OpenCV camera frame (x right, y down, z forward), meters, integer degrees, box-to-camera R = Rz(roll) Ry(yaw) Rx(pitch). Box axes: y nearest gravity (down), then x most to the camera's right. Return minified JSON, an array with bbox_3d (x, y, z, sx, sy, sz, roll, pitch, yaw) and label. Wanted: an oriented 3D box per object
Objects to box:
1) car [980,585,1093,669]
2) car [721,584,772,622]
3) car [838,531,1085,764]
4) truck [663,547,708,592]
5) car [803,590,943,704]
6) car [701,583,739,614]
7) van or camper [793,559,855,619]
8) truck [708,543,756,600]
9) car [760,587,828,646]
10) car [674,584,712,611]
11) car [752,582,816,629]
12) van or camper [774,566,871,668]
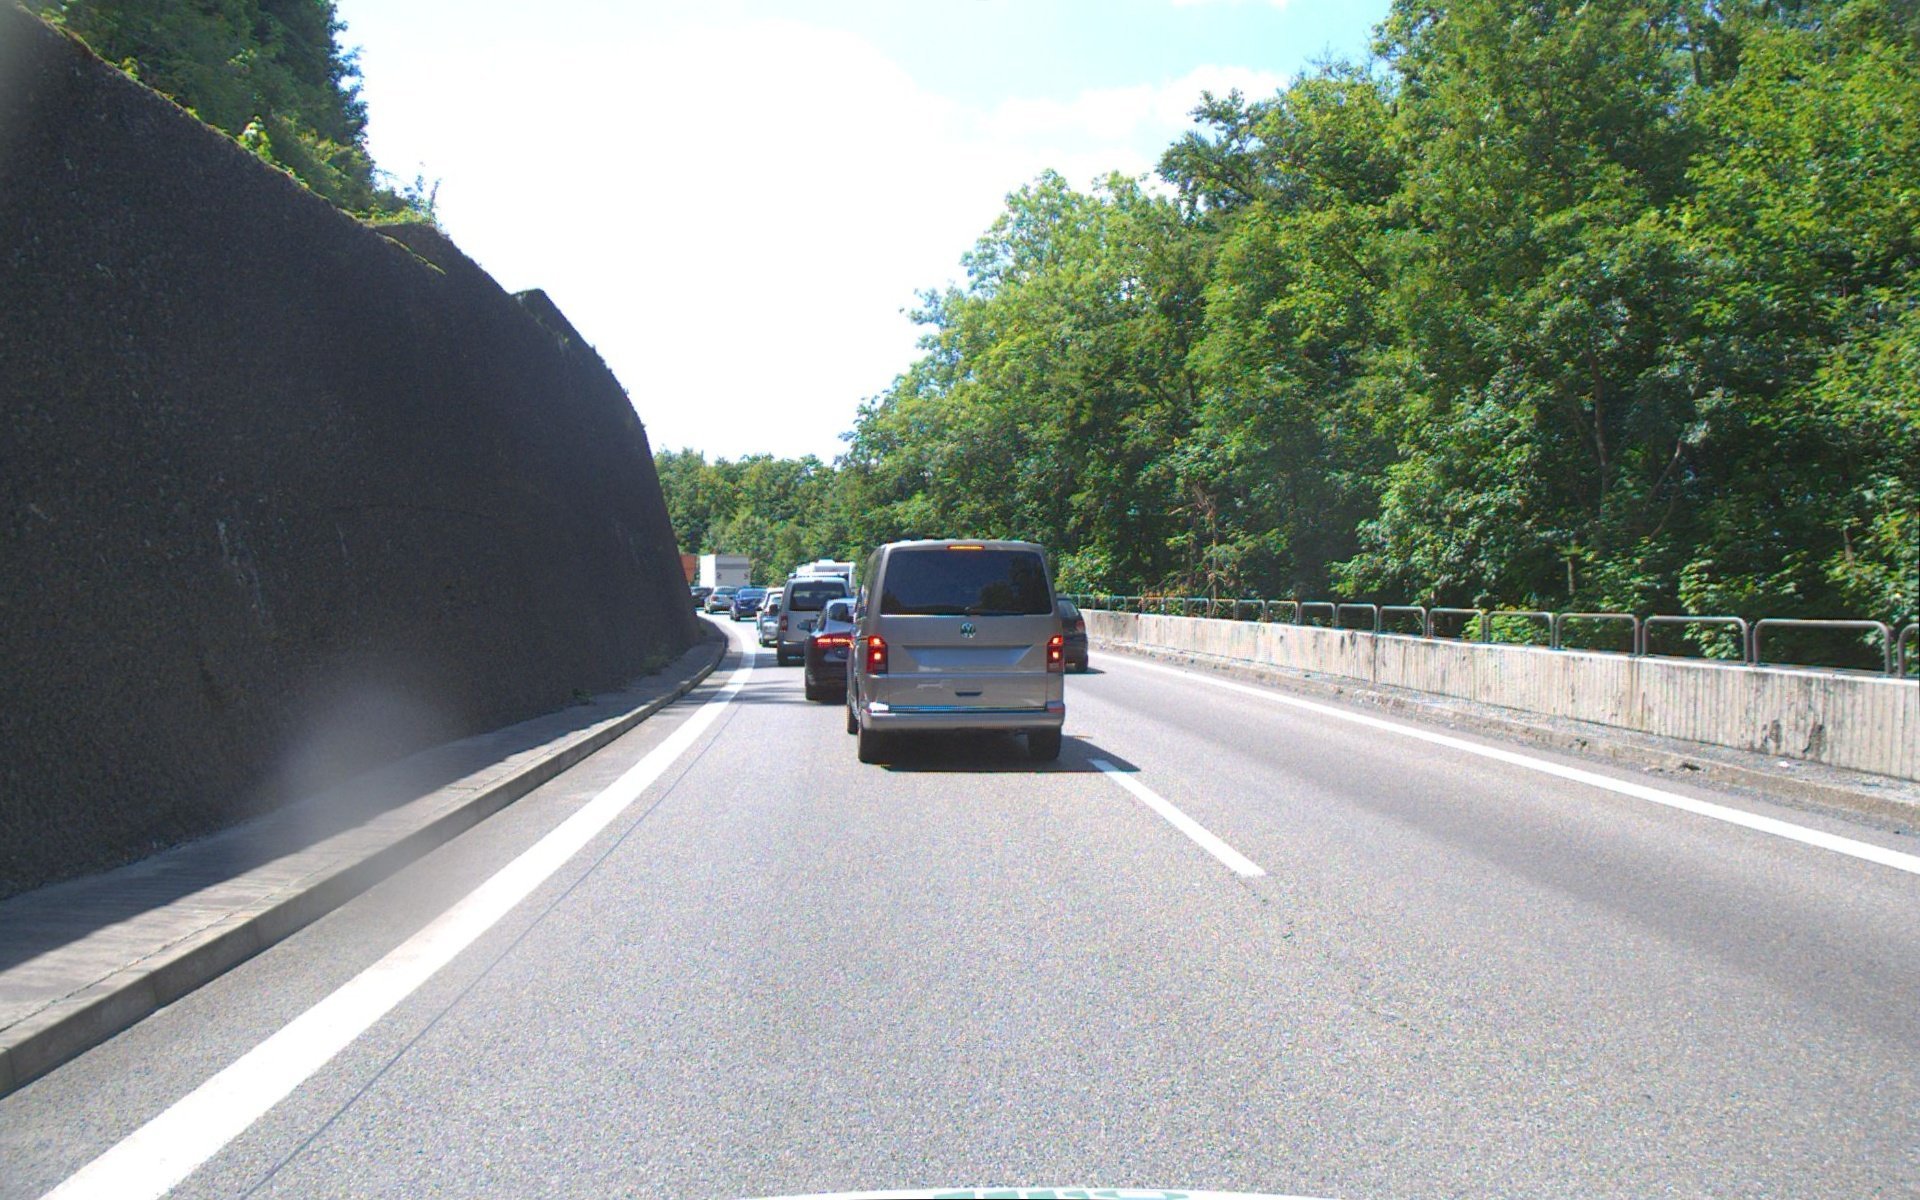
[{"bbox_3d":[1.405,0.470,31.757,1.652,1.484,3.996,1,0,-5],"label":"car"},{"bbox_3d":[-9.713,0.115,75.114,1.827,1.648,3.984,0,1,-15],"label":"car"},{"bbox_3d":[-0.152,0.393,16.397,1.903,1.965,4.688,1,0,-7],"label":"car"},{"bbox_3d":[-23.690,-2.660,142.566,3.109,3.528,8.195,4,0,-13],"label":"truck"},{"bbox_3d":[-1.278,0.627,24.561,1.867,1.515,4.377,1,0,-3],"label":"car"},{"bbox_3d":[-12.988,-0.082,89.345,1.957,1.646,3.991,0,0,-10],"label":"car"},{"bbox_3d":[-6.886,-0.591,83.203,2.556,2.905,6.320,0,1,-10],"label":"van or camper"},{"bbox_3d":[-16.610,-2.070,120.161,2.873,3.751,7.705,5,0,-10],"label":"truck"},{"bbox_3d":[-4.624,0.431,46.362,1.737,1.498,3.996,3,0,-5],"label":"car"},{"bbox_3d":[-16.321,-0.188,100.970,1.724,1.598,3.752,0,0,-18],"label":"car"},{"bbox_3d":[-6.430,0.194,60.136,1.862,1.612,3.759,-2,0,-13],"label":"car"},{"bbox_3d":[-3.050,0.331,35.996,1.819,1.975,4.158,4,0,-7],"label":"van or camper"}]
